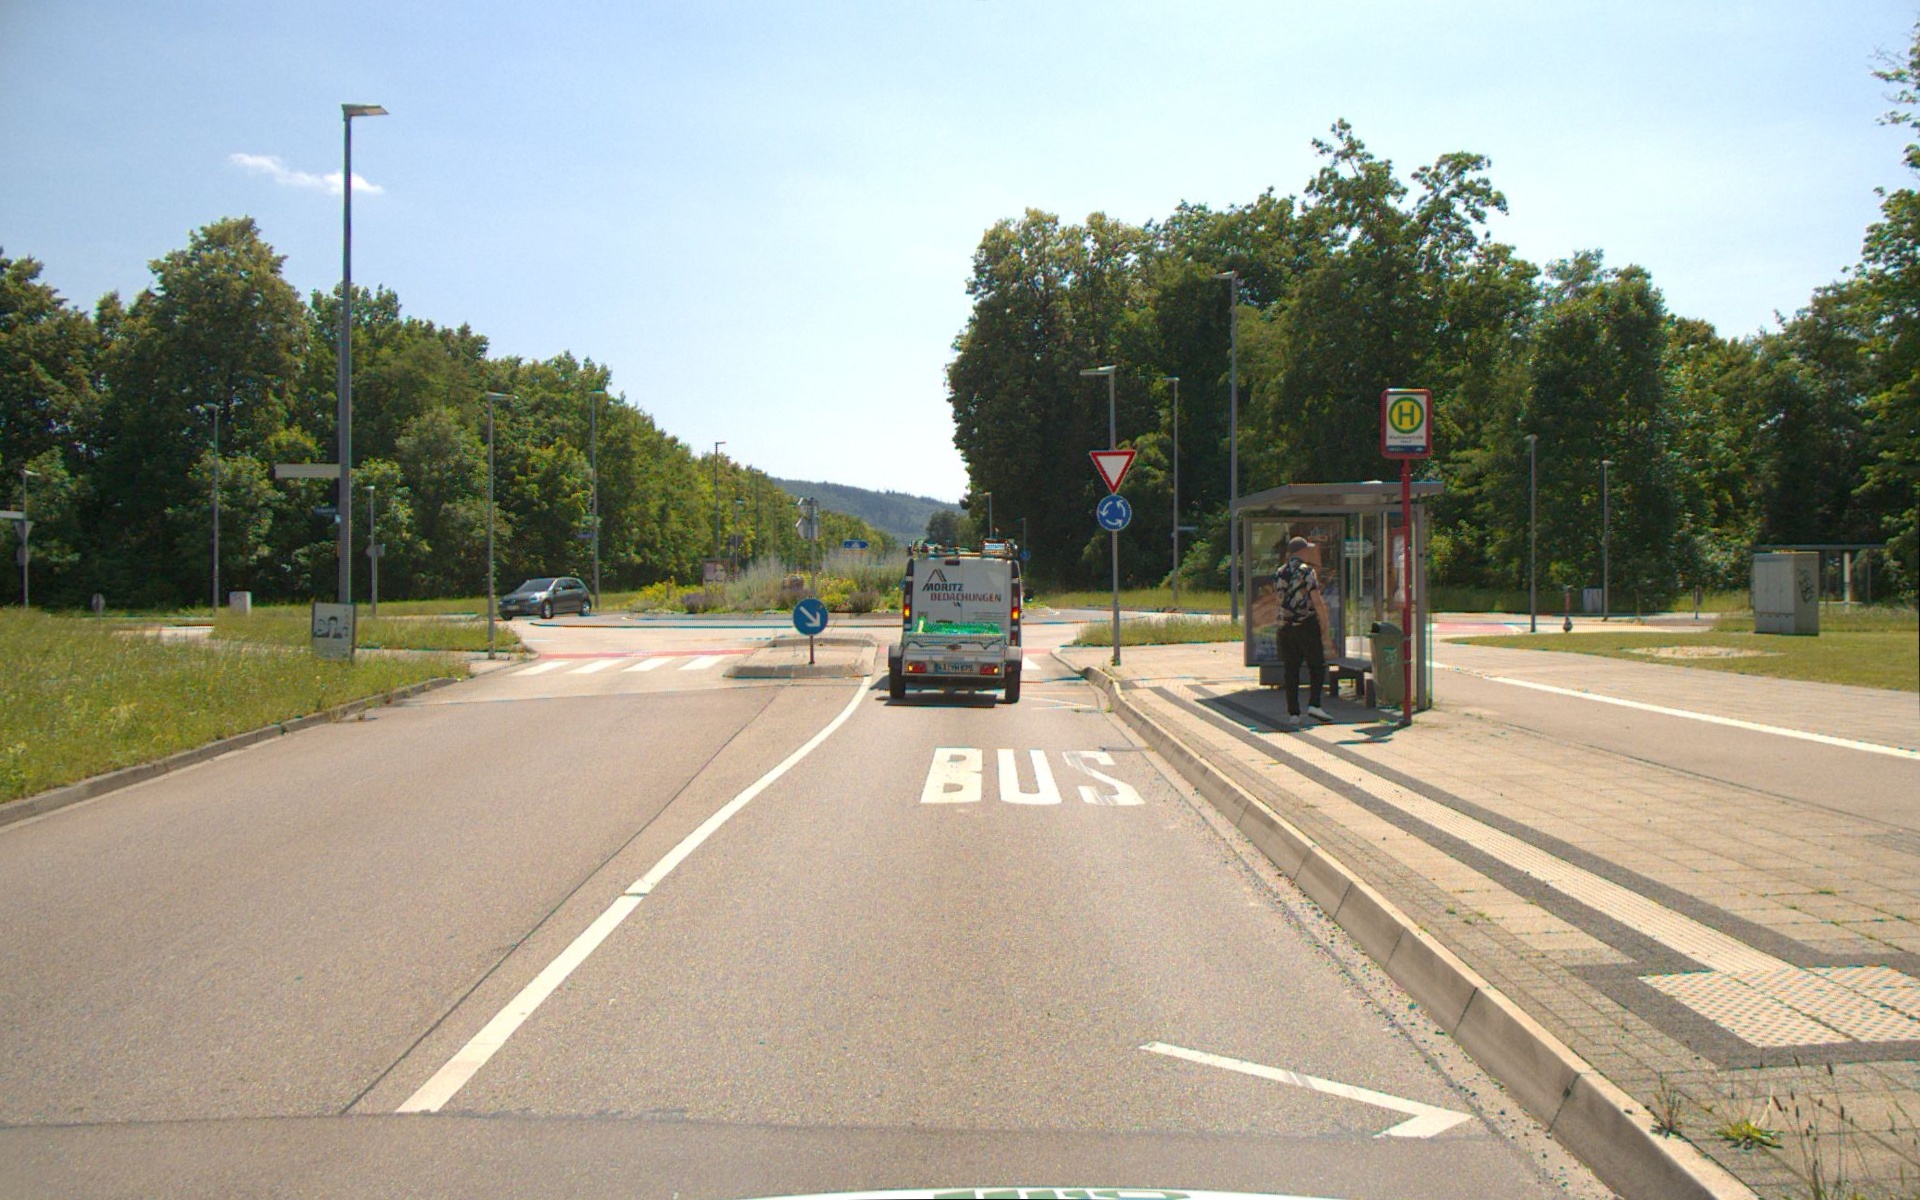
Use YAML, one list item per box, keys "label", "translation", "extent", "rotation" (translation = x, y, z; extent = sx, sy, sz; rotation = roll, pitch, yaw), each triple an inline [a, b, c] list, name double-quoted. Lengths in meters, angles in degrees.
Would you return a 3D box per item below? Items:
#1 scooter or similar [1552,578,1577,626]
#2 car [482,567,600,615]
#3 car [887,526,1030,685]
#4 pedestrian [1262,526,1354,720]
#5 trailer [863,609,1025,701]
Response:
- label: "scooter or similar"
  translation: [15.663, 0.054, 42.843]
  extent: [0.438, 1.222, 1.397]
  rotation: [1, 0, 26]
- label: "car"
  translation: [-14.830, -0.347, 58.744]
  extent: [1.952, 1.504, 4.291]
  rotation: [-1, 2, 20]
- label: "car"
  translation: [0.076, 0.049, 27.188]
  extent: [2.121, 2.356, 4.983]
  rotation: [1, 1, 2]
- label: "pedestrian"
  translation: [3.447, 0.216, 16.347]
  extent: [0.693, 1.854, 0.827]
  rotation: [-2, 0, 21]
- label: "trailer"
  translation: [-0.142, 0.715, 23.033]
  extent: [2.077, 1.116, 3.356]
  rotation: [1, 1, 2]
